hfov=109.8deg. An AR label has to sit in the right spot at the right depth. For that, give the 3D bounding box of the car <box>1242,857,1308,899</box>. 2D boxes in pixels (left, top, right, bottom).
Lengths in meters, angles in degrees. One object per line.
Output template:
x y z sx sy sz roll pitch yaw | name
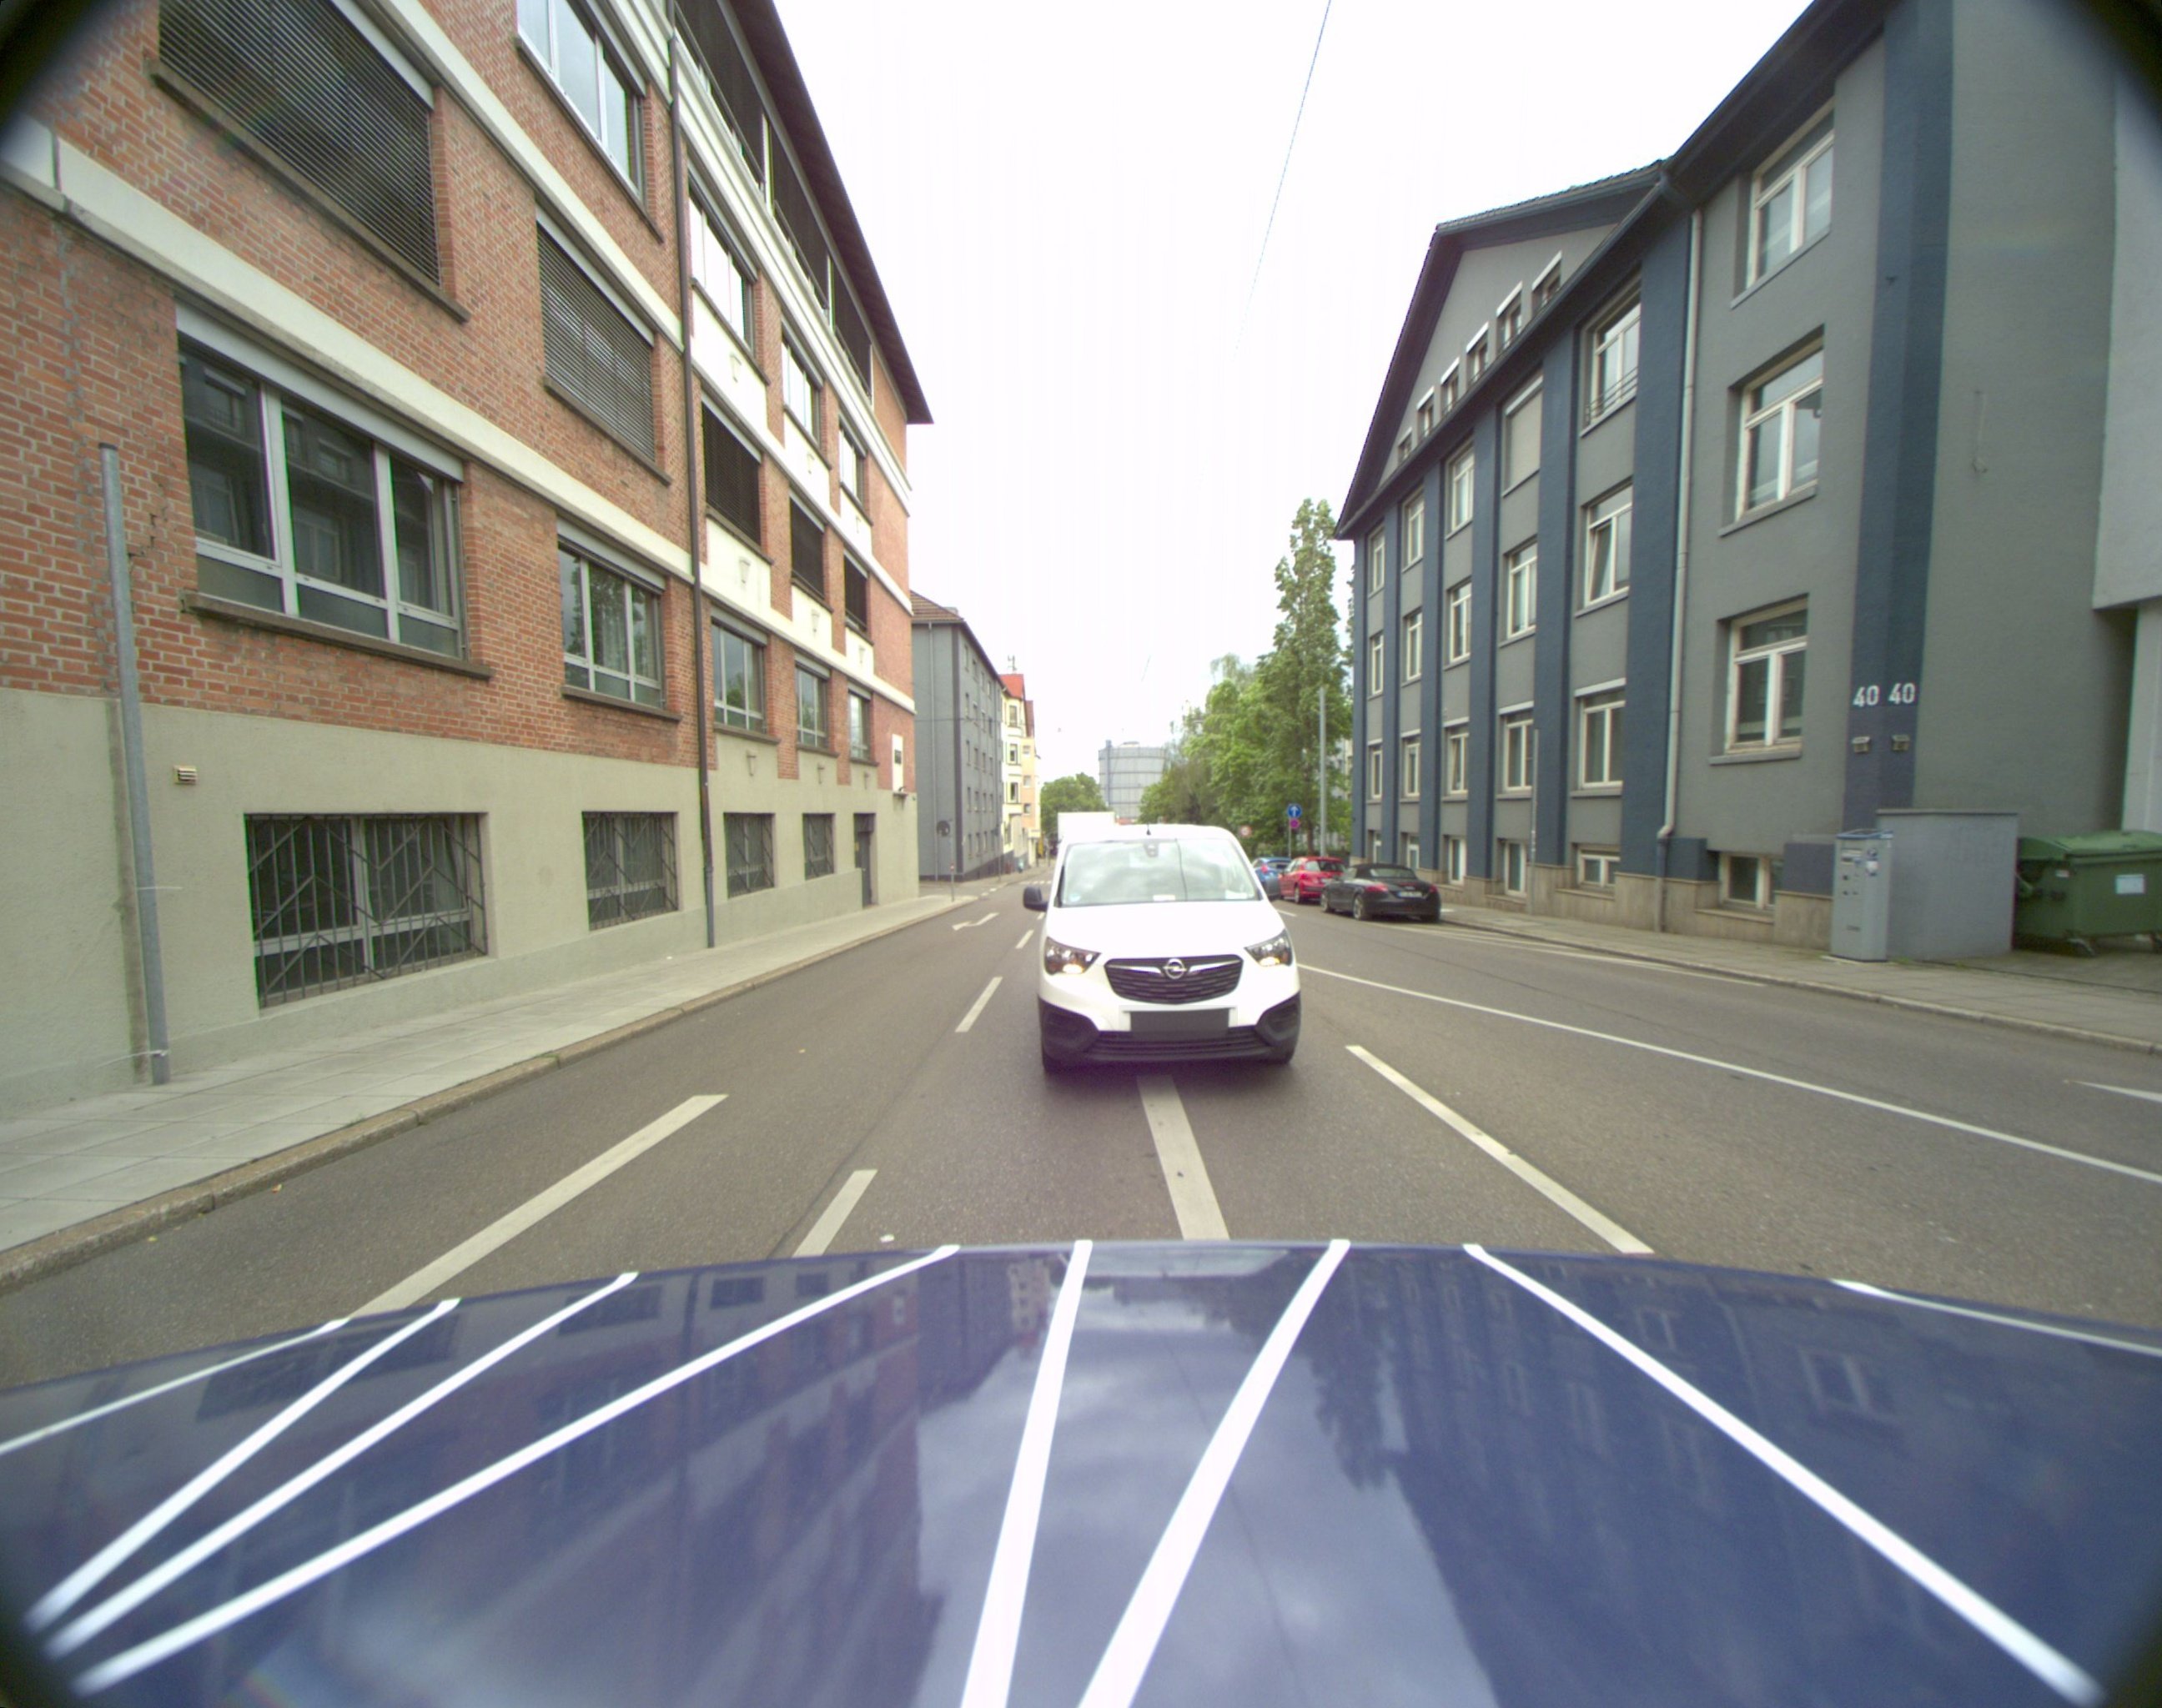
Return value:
7.535 0.879 29.822 1.644 1.441 3.729 -2 1 1 | car

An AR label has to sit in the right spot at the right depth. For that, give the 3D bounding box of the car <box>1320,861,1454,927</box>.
7.283 0.893 18.495 1.801 1.384 3.729 0 1 1 | car

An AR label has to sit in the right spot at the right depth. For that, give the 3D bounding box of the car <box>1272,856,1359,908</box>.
7.423 0.823 24.384 1.644 1.441 3.729 -2 1 1 | car

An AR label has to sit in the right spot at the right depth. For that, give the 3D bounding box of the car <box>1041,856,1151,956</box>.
0.270 0.864 14.423 1.739 1.519 3.999 -2 1 1 | car

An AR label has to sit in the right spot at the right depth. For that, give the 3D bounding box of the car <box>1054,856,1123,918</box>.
0.218 0.878 21.916 1.739 1.519 3.999 -2 1 1 | car

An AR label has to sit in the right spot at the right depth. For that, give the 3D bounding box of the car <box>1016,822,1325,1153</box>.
0.546 0.762 6.429 1.739 1.875 3.999 -2 1 1 | car

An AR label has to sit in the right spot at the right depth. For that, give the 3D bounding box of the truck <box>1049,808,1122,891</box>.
0.232 -0.239 36.738 2.969 3.409 8.879 -2 1 1 | truck

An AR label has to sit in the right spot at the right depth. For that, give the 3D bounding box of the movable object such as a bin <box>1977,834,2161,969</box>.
12.052 0.536 9.169 1.229 1.498 1.040 -2 1 1 | movable object such as a bin
